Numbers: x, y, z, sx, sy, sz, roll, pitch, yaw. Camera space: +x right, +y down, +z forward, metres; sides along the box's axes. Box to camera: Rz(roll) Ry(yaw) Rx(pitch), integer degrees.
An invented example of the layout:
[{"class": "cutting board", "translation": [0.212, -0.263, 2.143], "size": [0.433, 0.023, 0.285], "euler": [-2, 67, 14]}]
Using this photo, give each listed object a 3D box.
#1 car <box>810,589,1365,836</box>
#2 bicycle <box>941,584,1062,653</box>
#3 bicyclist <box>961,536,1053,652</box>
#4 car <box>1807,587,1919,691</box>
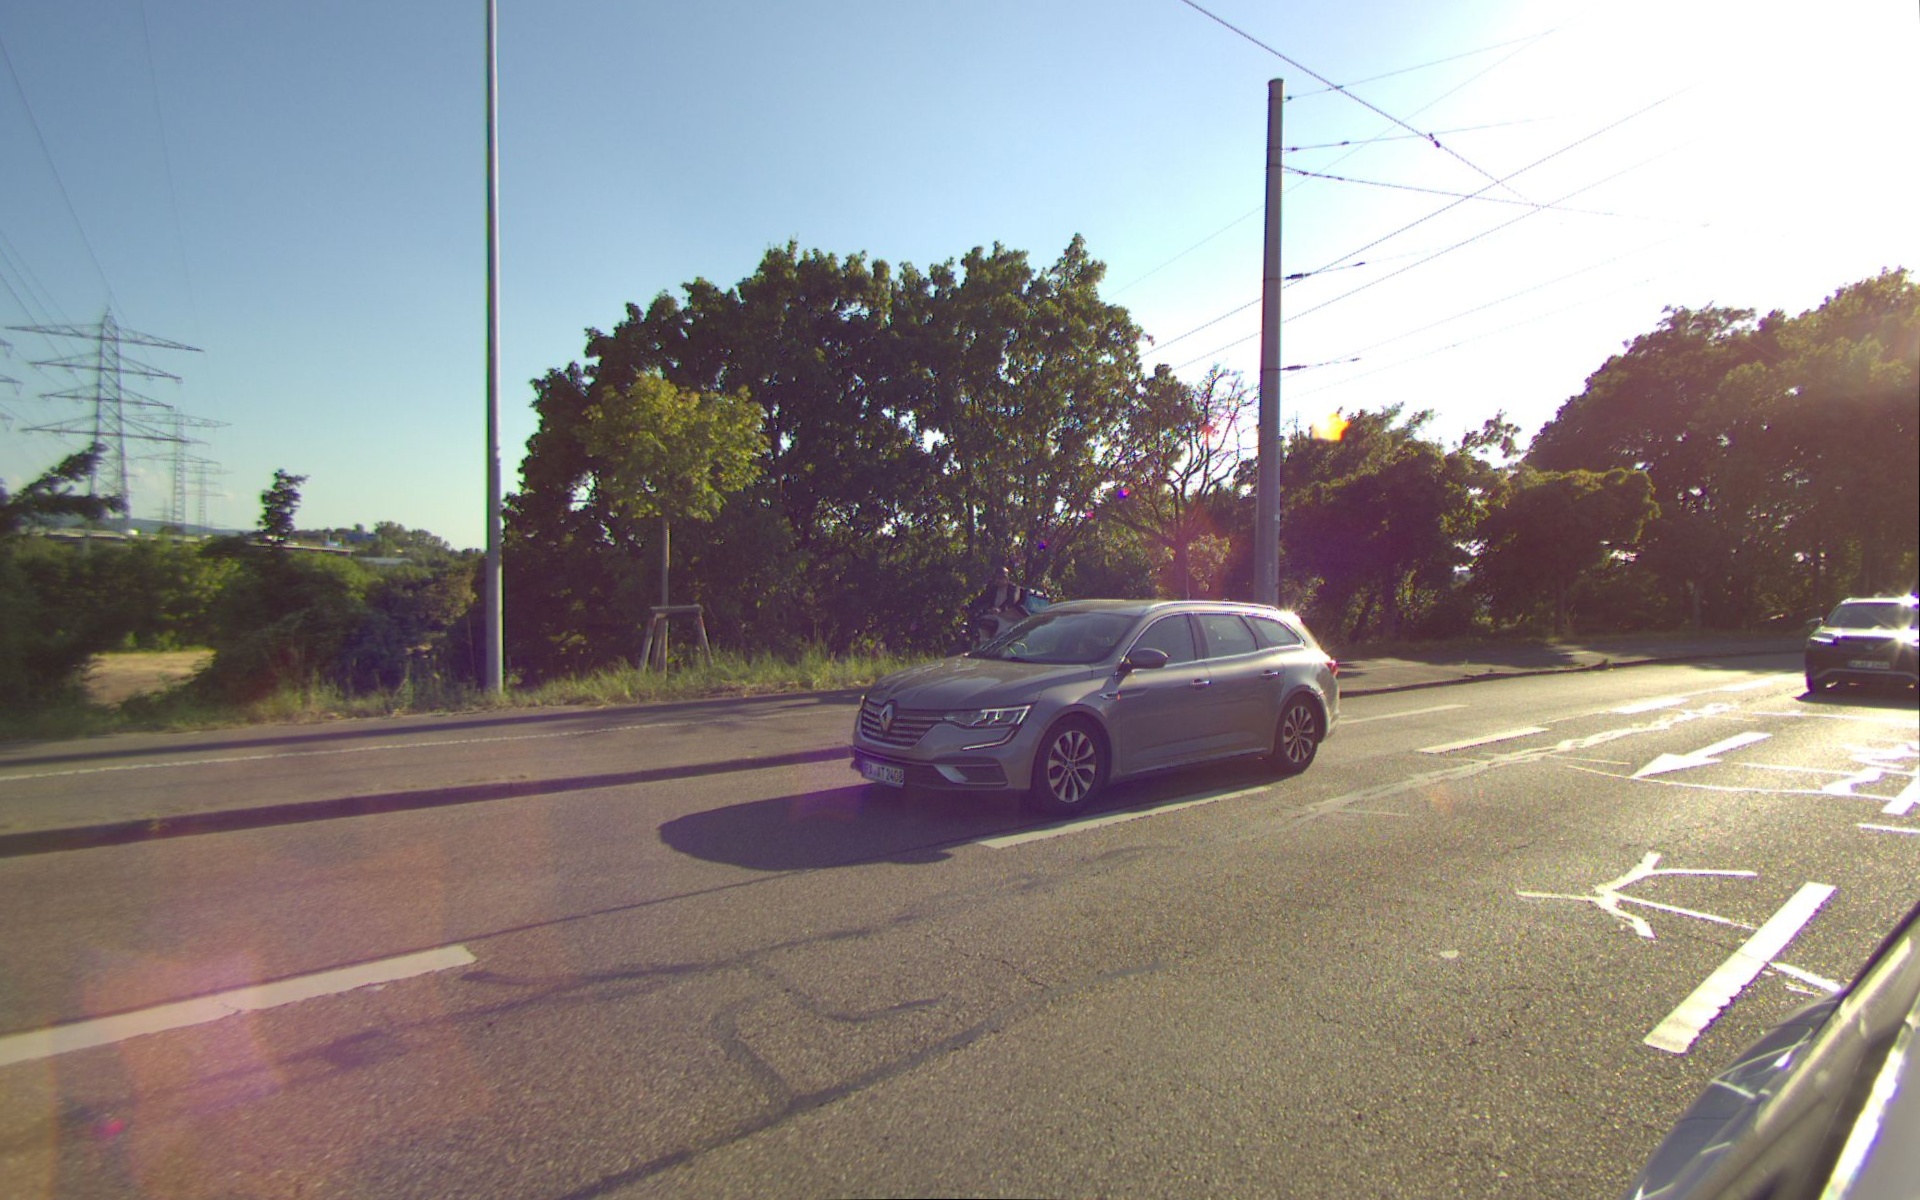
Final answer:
[{"class": "car", "translation": [1.236, 0.653, 8.291], "size": [4.576, 1.461, 1.881], "euler": [-1, 1, -39]}, {"class": "bicycle", "translation": [0.581, 0.229, 13.732], "size": [1.606, 0.844, 0.628], "euler": [-1, 5, -41]}, {"class": "bicyclist", "translation": [0.647, -0.097, 13.756], "size": [1.042, 1.488, 0.628], "euler": [0, 5, -41]}, {"class": "car", "translation": [16.588, 0.603, 17.768], "size": [4.338, 1.620, 1.880], "euler": [-1, 1, -40]}]
